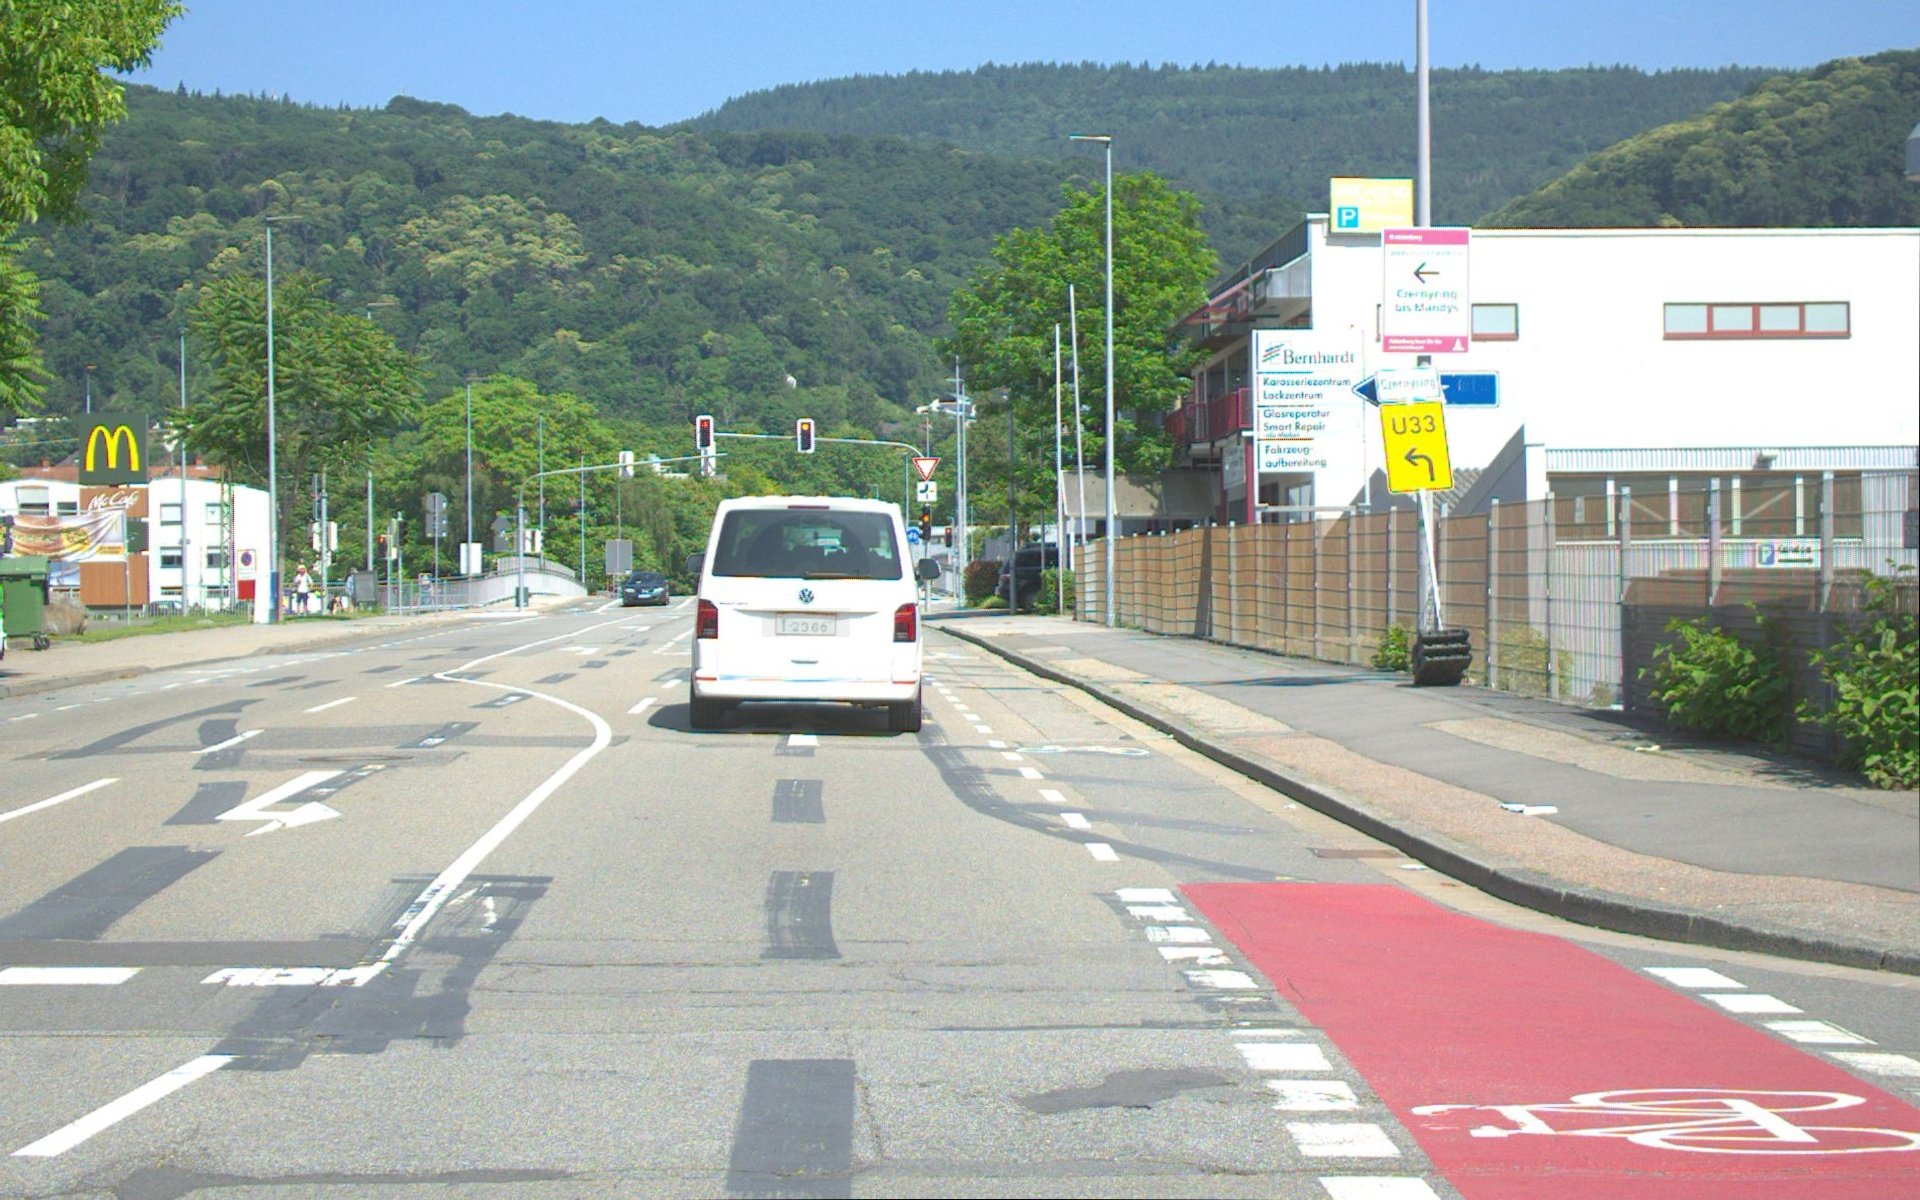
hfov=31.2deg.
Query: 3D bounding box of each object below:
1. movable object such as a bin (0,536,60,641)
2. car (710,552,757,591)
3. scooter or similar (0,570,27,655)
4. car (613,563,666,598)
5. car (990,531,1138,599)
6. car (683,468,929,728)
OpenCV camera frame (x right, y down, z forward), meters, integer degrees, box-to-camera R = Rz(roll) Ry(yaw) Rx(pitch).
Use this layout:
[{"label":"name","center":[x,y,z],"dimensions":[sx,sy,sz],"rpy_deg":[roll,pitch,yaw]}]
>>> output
[{"label":"movable object such as a bin","center":[-14.709,-0.178,53.118],"dimensions":[1.447,1.585,1.307],"rpy_deg":[-1,1,-11]},{"label":"car","center":[-9.516,-1.197,144.456],"dimensions":[1.849,1.583,4.000],"rpy_deg":[-1,1,-2]},{"label":"scooter or similar","center":[-13.298,0.157,47.372],"dimensions":[0.646,1.124,1.623],"rpy_deg":[2,1,-9]},{"label":"car","center":[-13.049,-0.792,140.057],"dimensions":[1.993,1.365,4.327],"rpy_deg":[-1,1,-3]},{"label":"car","center":[2.885,-0.969,94.837],"dimensions":[3.987,1.769,2.000],"rpy_deg":[-1,1,4]},{"label":"car","center":[-1.387,-0.048,29.490],"dimensions":[1.934,2.052,4.545],"rpy_deg":[0,1,-4]}]
